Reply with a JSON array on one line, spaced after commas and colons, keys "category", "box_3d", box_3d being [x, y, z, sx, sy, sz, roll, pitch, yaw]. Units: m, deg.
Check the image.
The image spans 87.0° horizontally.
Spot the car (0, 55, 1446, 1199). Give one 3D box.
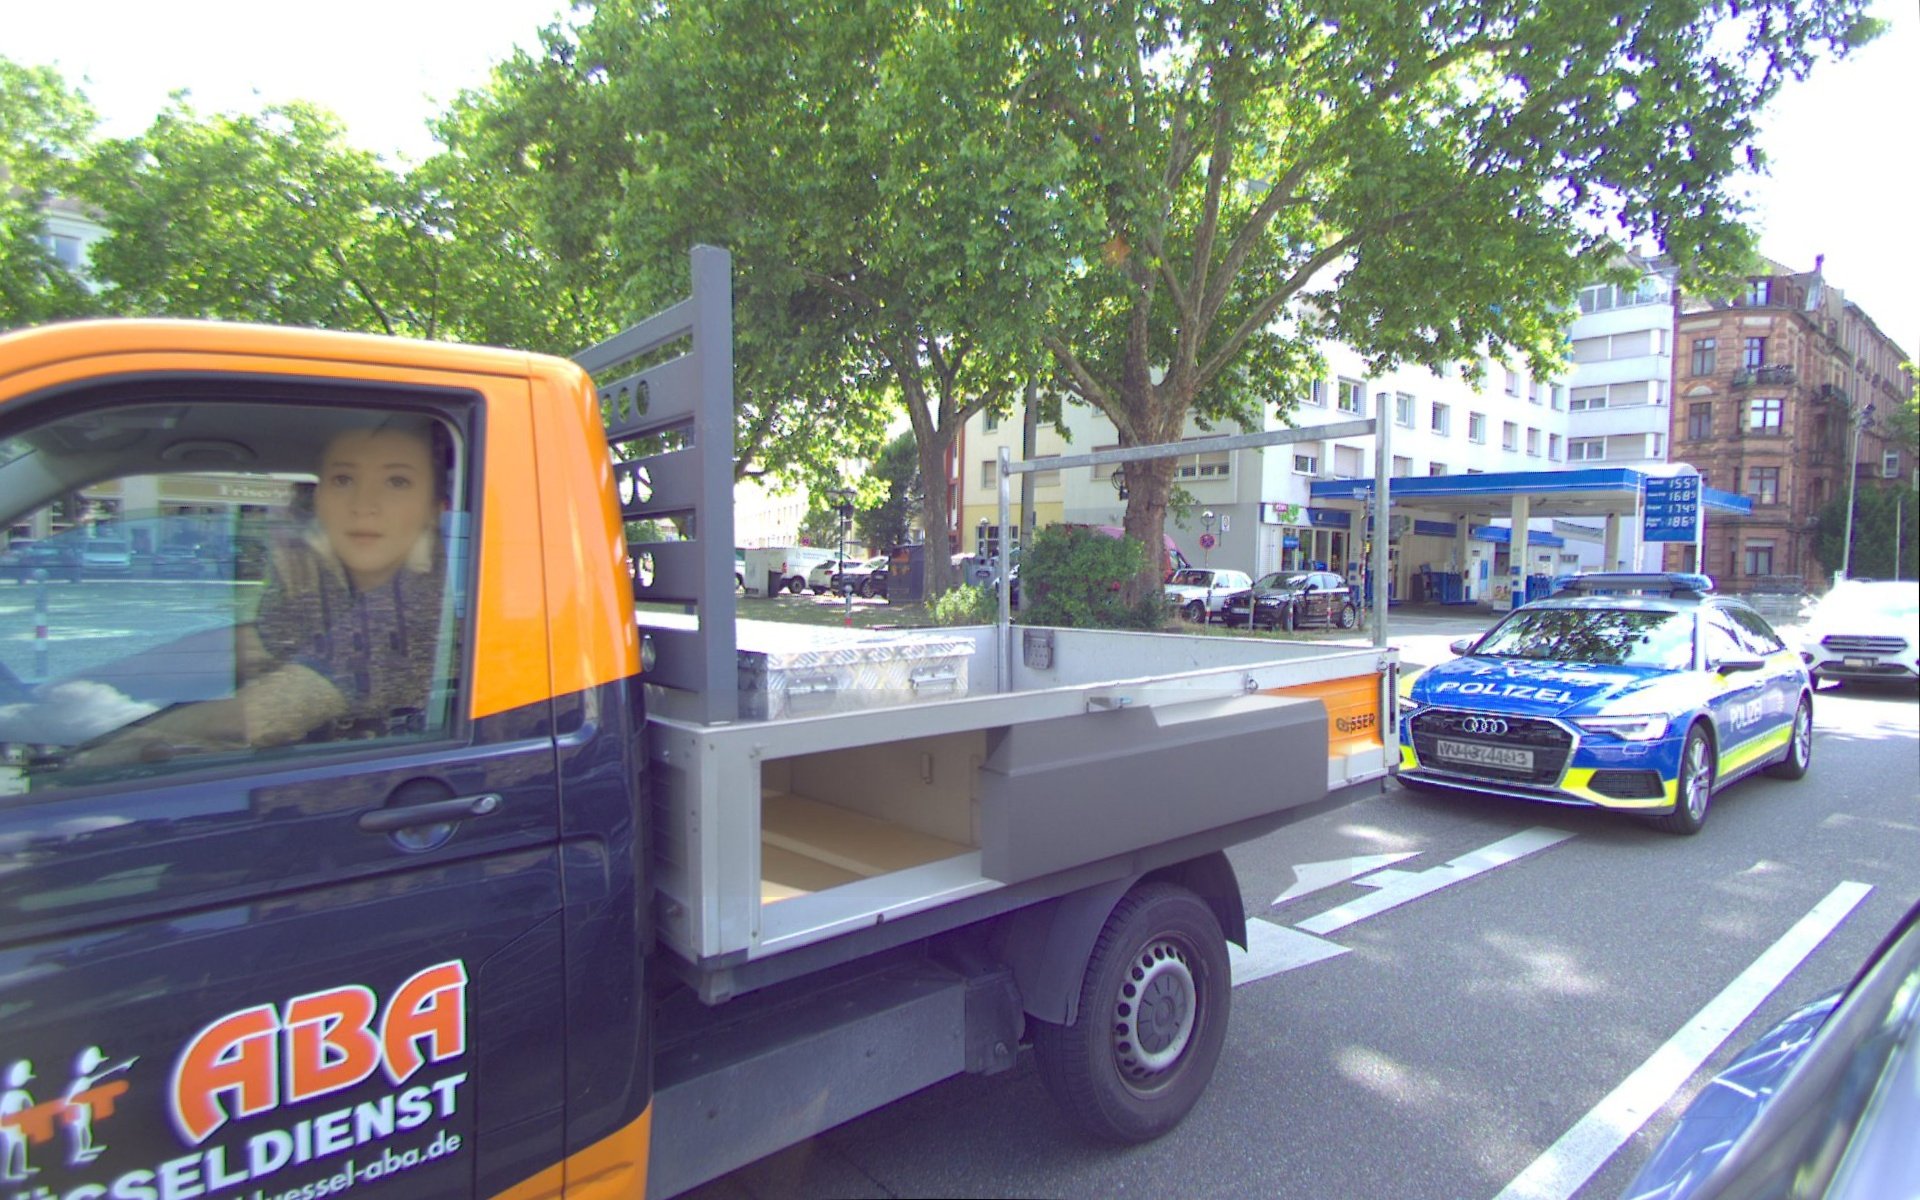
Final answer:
[{"category": "car", "box_3d": [-1.058, 0.337, 2.492, 5.242, 2.010, 2.079, -3, 4, -40]}]

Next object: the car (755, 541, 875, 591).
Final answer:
[{"category": "car", "box_3d": [-5.948, -1.380, 41.939, 4.601, 1.959, 1.997, -1, 0, -41]}]

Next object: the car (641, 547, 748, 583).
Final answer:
[{"category": "car", "box_3d": [-13.812, -1.776, 52.854, 5.165, 1.773, 1.899, -1, 0, -43]}]

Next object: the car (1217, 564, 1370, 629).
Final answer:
[{"category": "car", "box_3d": [8.158, -0.119, 24.626, 3.930, 1.428, 1.756, -1, 2, -41]}]

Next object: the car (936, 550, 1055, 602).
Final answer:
[{"category": "car", "box_3d": [1.203, -0.790, 33.257, 3.930, 1.624, 1.528, -1, 1, -41]}]

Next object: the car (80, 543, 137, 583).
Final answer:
[{"category": "car", "box_3d": [-37.986, -1.665, 45.117, 1.820, 1.680, 4.077, 0, 3, -42]}]

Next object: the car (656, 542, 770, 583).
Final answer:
[{"category": "car", "box_3d": [-12.195, -1.821, 50.210, 5.165, 1.896, 1.996, -1, 0, -43]}]

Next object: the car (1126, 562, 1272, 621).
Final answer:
[{"category": "car", "box_3d": [6.335, -0.251, 26.655, 3.930, 1.428, 1.756, -1, 2, -41]}]

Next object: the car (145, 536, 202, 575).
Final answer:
[{"category": "car", "box_3d": [-36.243, -2.059, 46.622, 1.820, 1.680, 4.077, 0, 3, -42]}]

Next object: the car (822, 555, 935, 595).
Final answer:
[{"category": "car", "box_3d": [-3.007, -0.908, 37.682, 3.930, 1.381, 1.765, -1, 0, -41]}]

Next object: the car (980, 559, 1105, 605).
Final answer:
[{"category": "car", "box_3d": [2.559, -0.542, 30.903, 3.930, 1.310, 1.476, -1, 0, -41]}]

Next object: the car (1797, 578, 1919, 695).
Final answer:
[{"category": "car", "box_3d": [14.786, 0.487, 15.866, 4.596, 1.627, 1.763, 0, 1, -40]}]

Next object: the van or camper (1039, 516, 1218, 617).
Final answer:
[{"category": "van or camper", "box_3d": [4.934, -0.919, 29.174, 5.252, 2.675, 2.107, -1, 0, -38]}]

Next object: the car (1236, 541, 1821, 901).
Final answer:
[{"category": "car", "box_3d": [4.216, 0.511, 7.045, 5.062, 1.673, 1.871, -1, 1, -40]}]

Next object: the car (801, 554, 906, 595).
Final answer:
[{"category": "car", "box_3d": [-4.199, -0.982, 40.152, 3.930, 1.539, 1.661, -1, 0, -41]}]

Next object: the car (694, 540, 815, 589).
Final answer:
[{"category": "car", "box_3d": [-9.287, -1.570, 45.980, 5.167, 2.113, 1.995, -1, 0, -45]}]

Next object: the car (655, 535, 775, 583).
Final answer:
[{"category": "car", "box_3d": [-11.489, -1.871, 47.679, 5.164, 2.113, 1.996, -1, 0, -42]}]

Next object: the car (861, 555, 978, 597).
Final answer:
[{"category": "car", "box_3d": [-1.394, -0.826, 35.783, 3.930, 1.381, 1.765, -1, 0, -41]}]

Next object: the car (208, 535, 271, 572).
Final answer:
[{"category": "car", "box_3d": [-34.433, -2.221, 48.315, 2.047, 1.680, 4.077, 0, 3, -42]}]
